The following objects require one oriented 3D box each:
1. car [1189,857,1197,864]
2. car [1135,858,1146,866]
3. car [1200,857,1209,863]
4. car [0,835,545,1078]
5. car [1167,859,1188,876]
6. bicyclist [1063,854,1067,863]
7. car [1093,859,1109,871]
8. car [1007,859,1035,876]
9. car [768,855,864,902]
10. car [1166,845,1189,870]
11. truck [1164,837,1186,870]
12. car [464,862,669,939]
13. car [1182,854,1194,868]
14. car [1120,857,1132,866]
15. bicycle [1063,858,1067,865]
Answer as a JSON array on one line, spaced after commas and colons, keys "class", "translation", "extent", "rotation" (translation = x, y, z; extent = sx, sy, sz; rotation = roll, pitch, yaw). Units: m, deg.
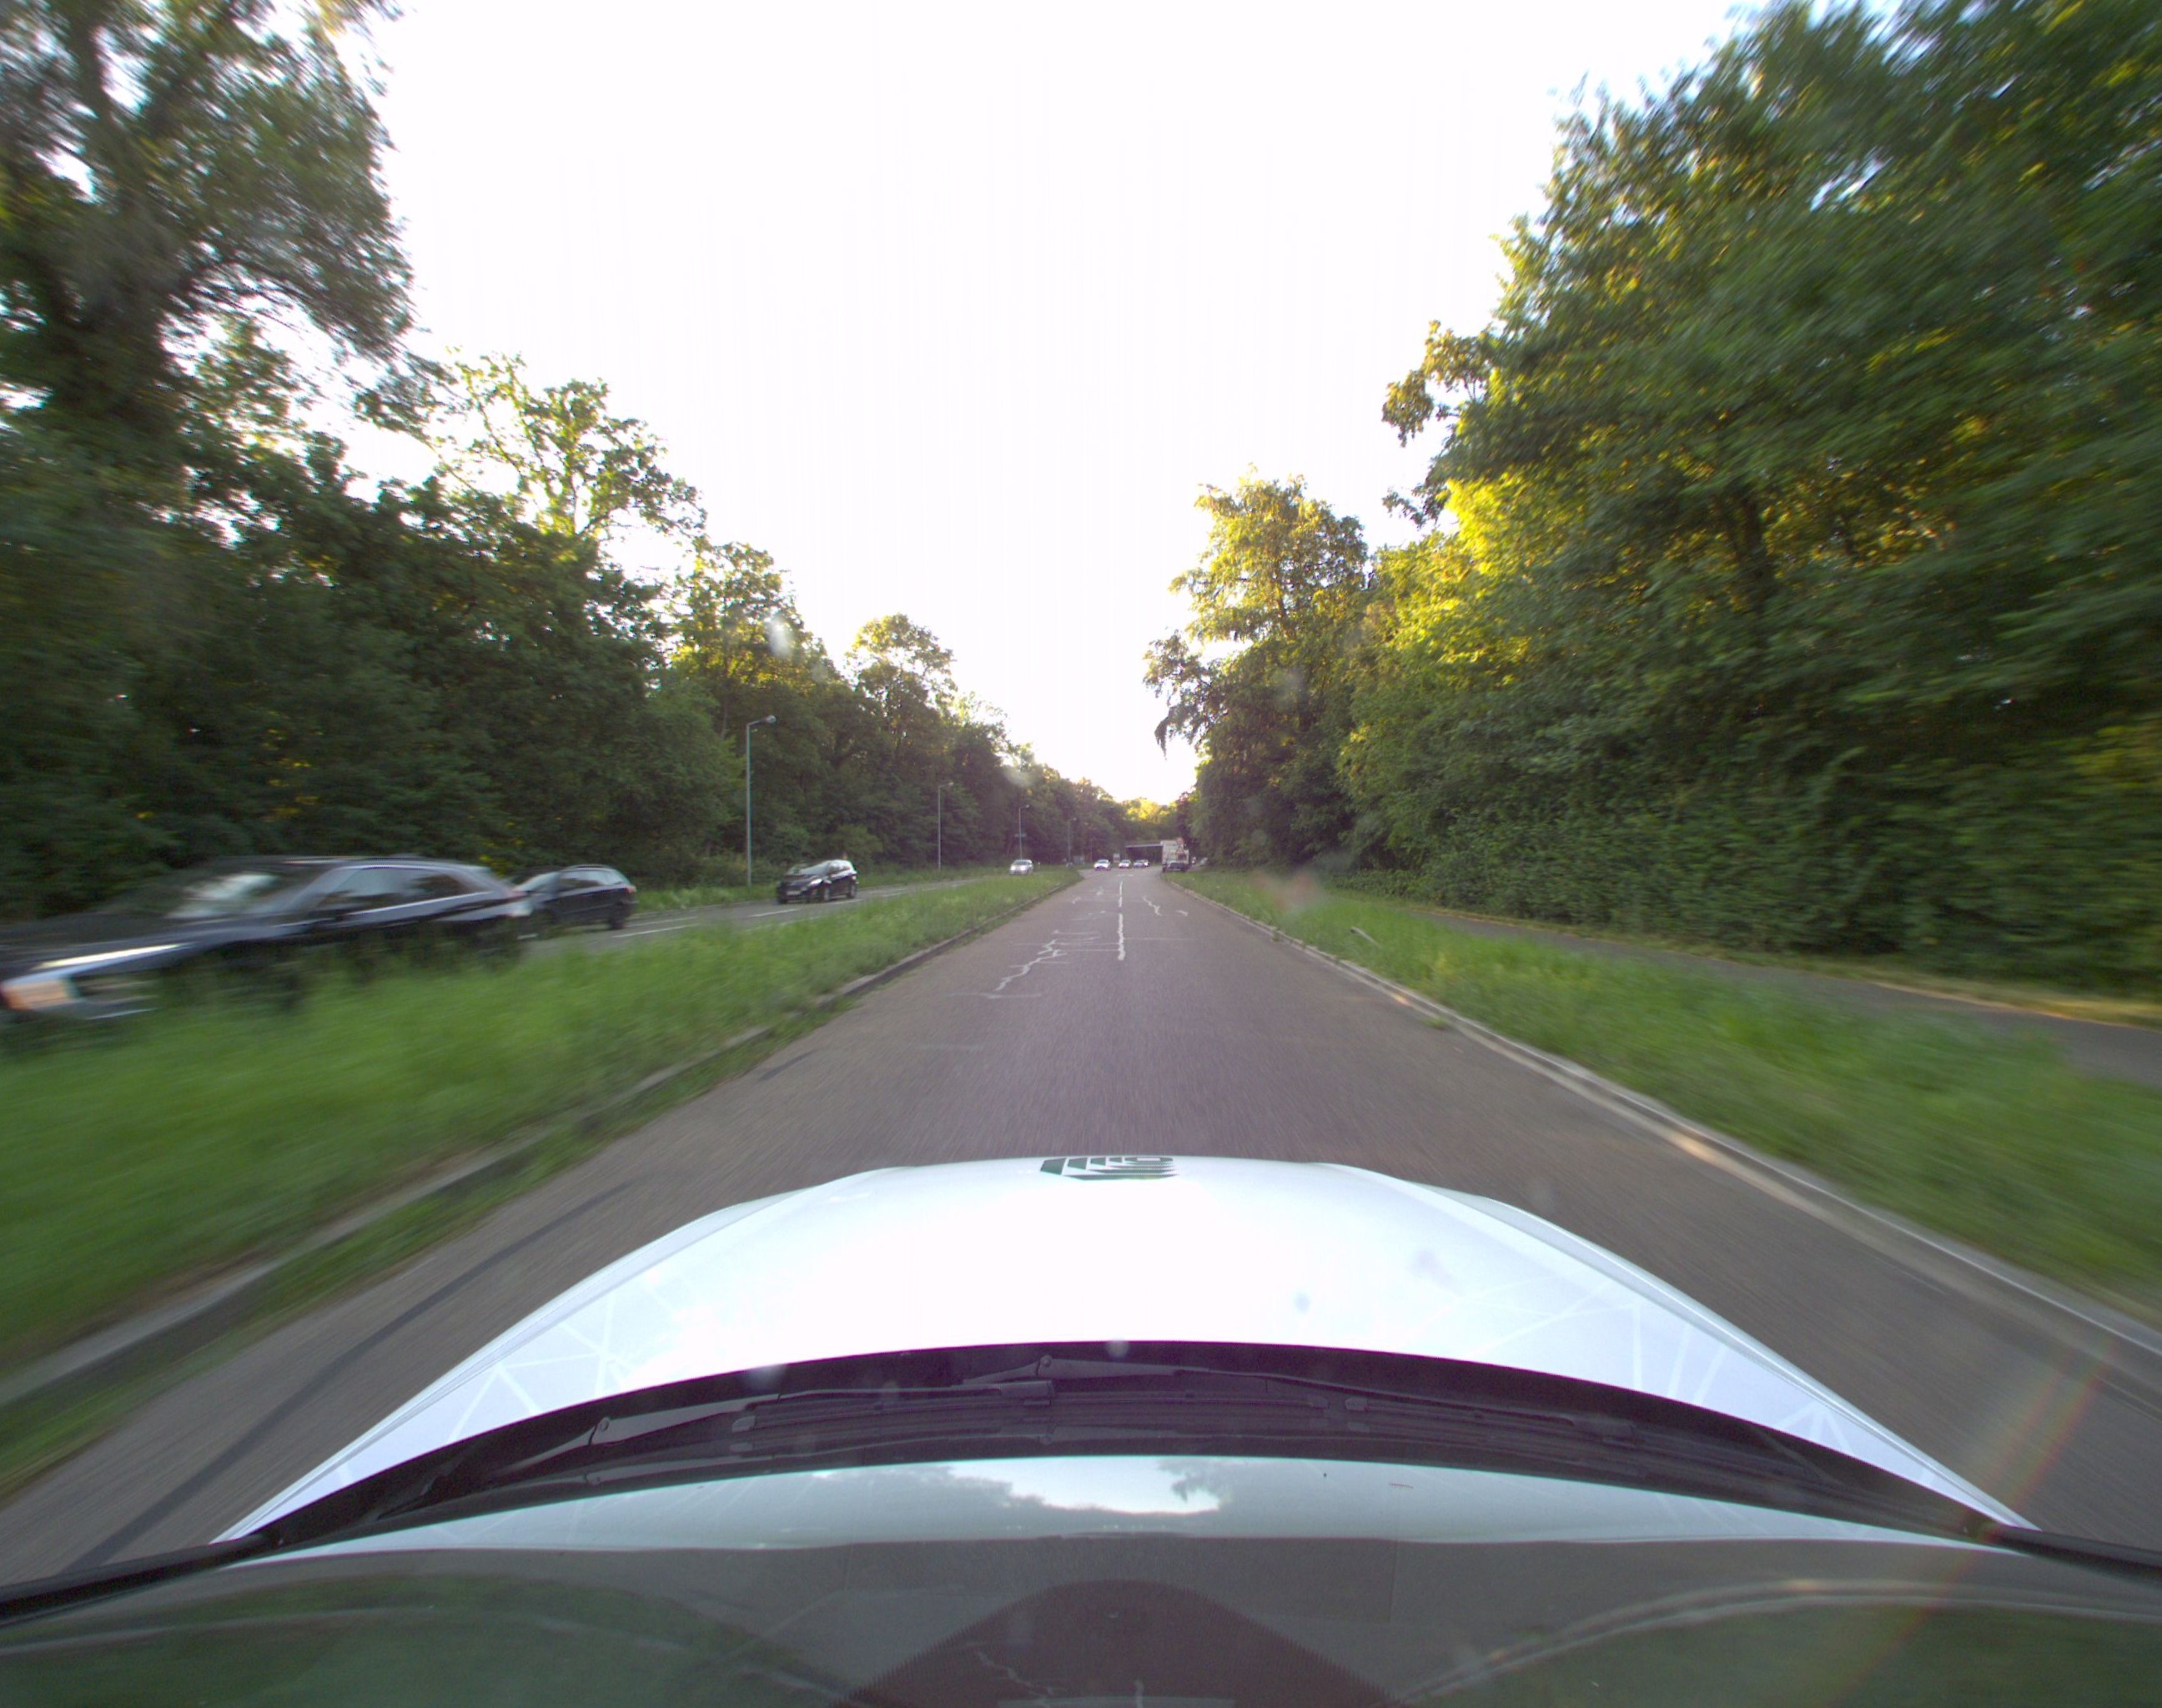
[{"class": "car", "translation": [31.551, 1.794, 229.363], "extent": [1.982, 1.838, 4.010], "rotation": [-1, 0, 9]}, {"class": "car", "translation": [11.032, 1.471, 151.204], "extent": [1.710, 1.397, 4.384], "rotation": [0, 0, 7]}, {"class": "car", "translation": [30.029, 1.429, 197.861], "extent": [1.880, 1.447, 4.120], "rotation": [-1, 0, 9]}, {"class": "car", "translation": [-7.602, 0.732, 7.774], "extent": [1.806, 1.627, 4.454], "rotation": [-2, 0, 3]}, {"class": "car", "translation": [8.170, 1.123, 69.055], "extent": [1.655, 1.405, 3.948], "rotation": [2, 0, 6]}, {"class": "bicyclist", "translation": [-2.605, 0.747, 131.627], "extent": [0.618, 1.511, 0.847], "rotation": [-1, 0, -1]}, {"class": "car", "translation": [2.742, 1.538, 111.009], "extent": [1.826, 1.507, 3.944], "rotation": [-1, -2, 6]}, {"class": "car", "translation": [-5.565, 1.287, 75.417], "extent": [1.984, 1.458, 3.815], "rotation": [-1, -2, 5]}, {"class": "car", "translation": [-10.185, 0.905, 31.729], "extent": [1.985, 1.627, 4.654], "rotation": [-2, 0, 3]}, {"class": "car", "translation": [11.230, 0.424, 95.337], "extent": [2.398, 2.858, 5.938], "rotation": [0, -1, 4]}, {"class": "truck", "translation": [12.055, -0.087, 103.577], "extent": [2.643, 4.027, 9.741], "rotation": [0, 0, 7]}, {"class": "car", "translation": [-11.534, 0.966, 18.677], "extent": [1.815, 1.480, 4.236], "rotation": [-2, 0, 3]}, {"class": "car", "translation": [20.393, 1.343, 154.838], "extent": [1.981, 2.410, 5.839], "rotation": [-1, -2, 10]}, {"class": "car", "translation": [7.556, 1.249, 136.527], "extent": [1.707, 1.446, 4.181], "rotation": [-1, 0, 7]}, {"class": "bicycle", "translation": [-2.597, 1.187, 131.644], "extent": [0.628, 1.217, 2.260], "rotation": [-1, 0, -1]}]
